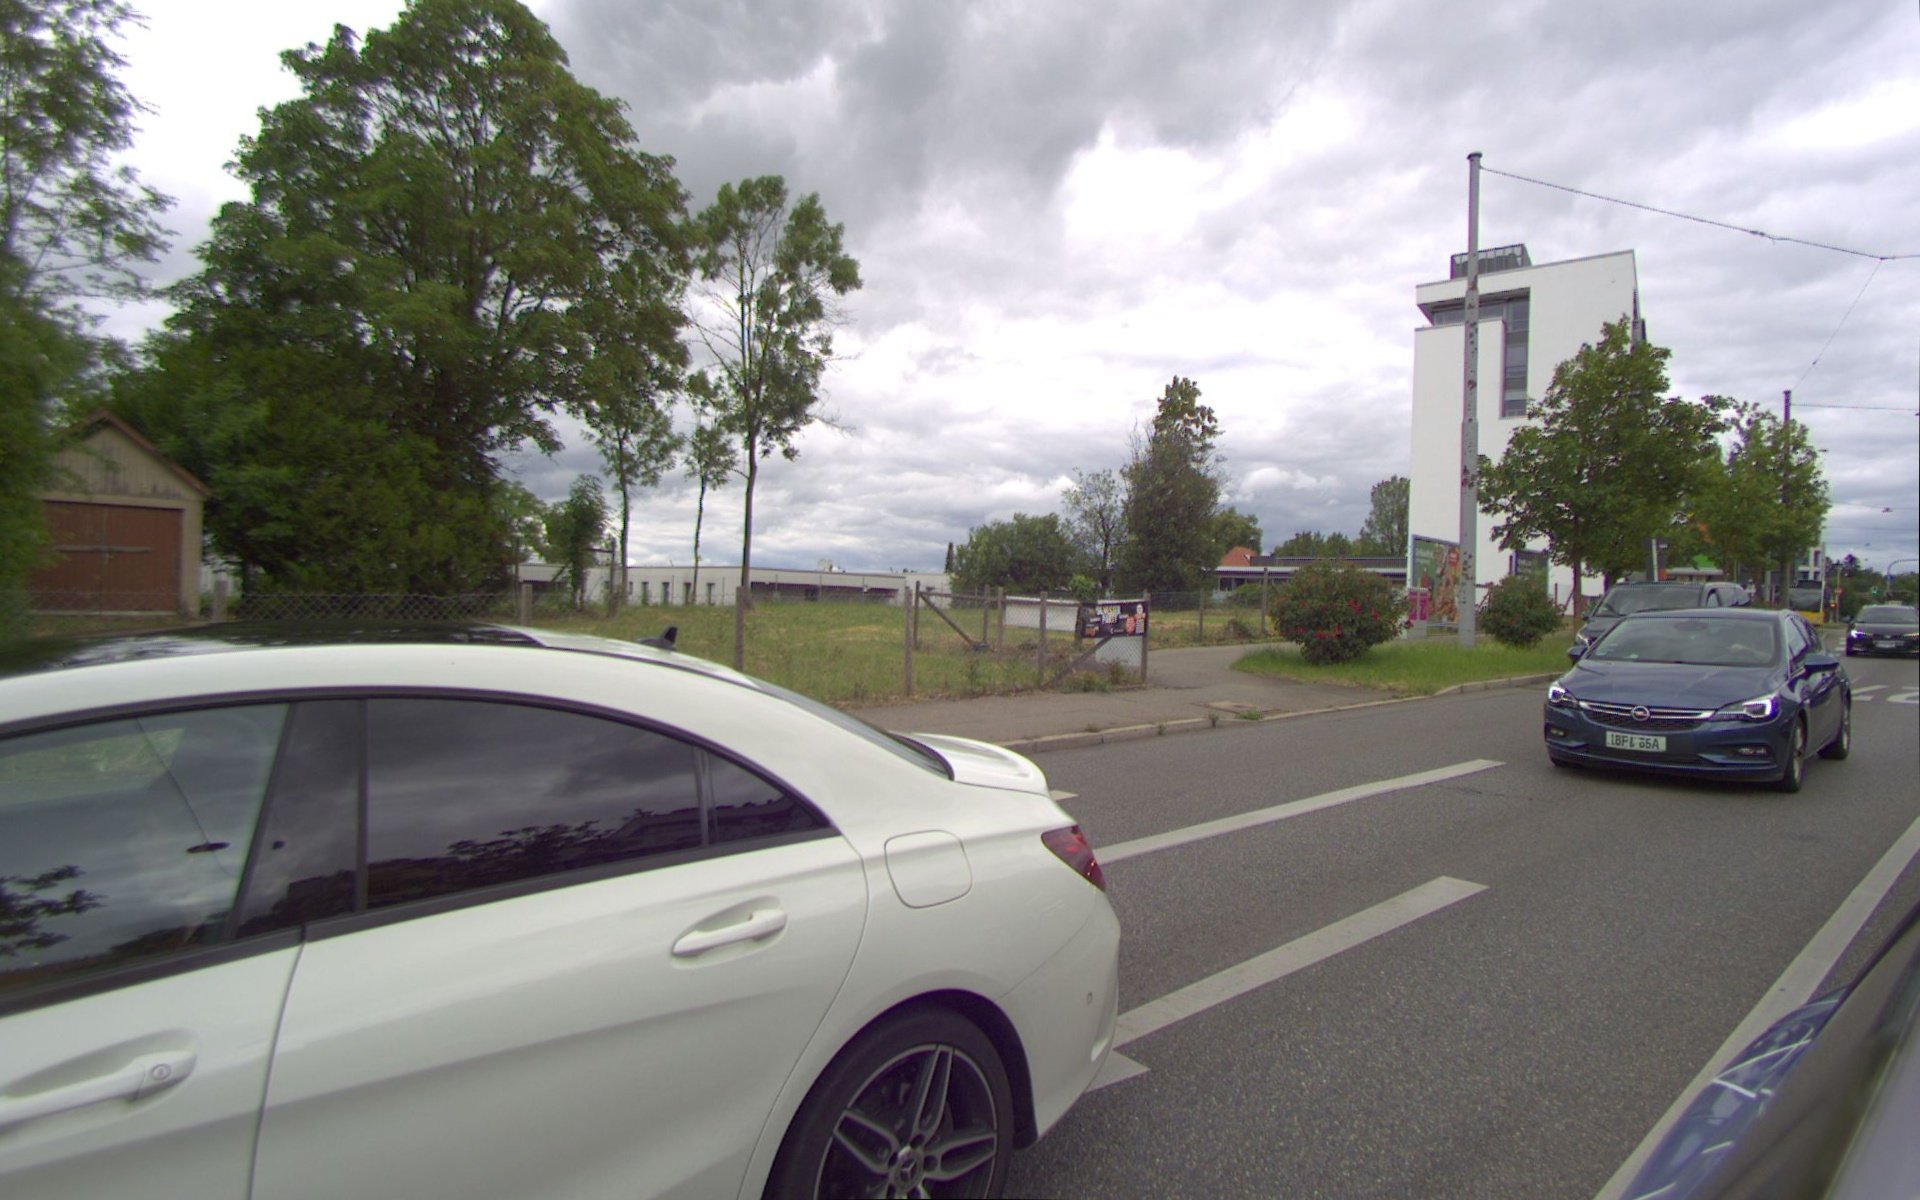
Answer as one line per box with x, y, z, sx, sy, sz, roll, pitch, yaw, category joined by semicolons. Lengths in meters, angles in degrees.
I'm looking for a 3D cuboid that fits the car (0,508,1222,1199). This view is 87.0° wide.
-1.715;0.667;1.817;4.688;1.524;1.871;0;-1;-40;car

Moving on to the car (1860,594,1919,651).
26.643;0.610;28.665;1.730;1.501;4.302;0;0;42;car

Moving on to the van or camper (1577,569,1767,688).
13.095;0.460;18.491;4.764;1.902;1.807;0;0;-41;van or camper

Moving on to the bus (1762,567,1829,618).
58.349;-0.489;70.845;3.028;3.276;9.214;2;1;36;bus

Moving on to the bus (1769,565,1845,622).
52.852;-0.393;63.362;2.975;3.282;9.734;1;1;37;bus

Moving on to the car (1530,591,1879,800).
7.004;0.690;9.337;4.293;1.501;1.733;0;0;-41;car
